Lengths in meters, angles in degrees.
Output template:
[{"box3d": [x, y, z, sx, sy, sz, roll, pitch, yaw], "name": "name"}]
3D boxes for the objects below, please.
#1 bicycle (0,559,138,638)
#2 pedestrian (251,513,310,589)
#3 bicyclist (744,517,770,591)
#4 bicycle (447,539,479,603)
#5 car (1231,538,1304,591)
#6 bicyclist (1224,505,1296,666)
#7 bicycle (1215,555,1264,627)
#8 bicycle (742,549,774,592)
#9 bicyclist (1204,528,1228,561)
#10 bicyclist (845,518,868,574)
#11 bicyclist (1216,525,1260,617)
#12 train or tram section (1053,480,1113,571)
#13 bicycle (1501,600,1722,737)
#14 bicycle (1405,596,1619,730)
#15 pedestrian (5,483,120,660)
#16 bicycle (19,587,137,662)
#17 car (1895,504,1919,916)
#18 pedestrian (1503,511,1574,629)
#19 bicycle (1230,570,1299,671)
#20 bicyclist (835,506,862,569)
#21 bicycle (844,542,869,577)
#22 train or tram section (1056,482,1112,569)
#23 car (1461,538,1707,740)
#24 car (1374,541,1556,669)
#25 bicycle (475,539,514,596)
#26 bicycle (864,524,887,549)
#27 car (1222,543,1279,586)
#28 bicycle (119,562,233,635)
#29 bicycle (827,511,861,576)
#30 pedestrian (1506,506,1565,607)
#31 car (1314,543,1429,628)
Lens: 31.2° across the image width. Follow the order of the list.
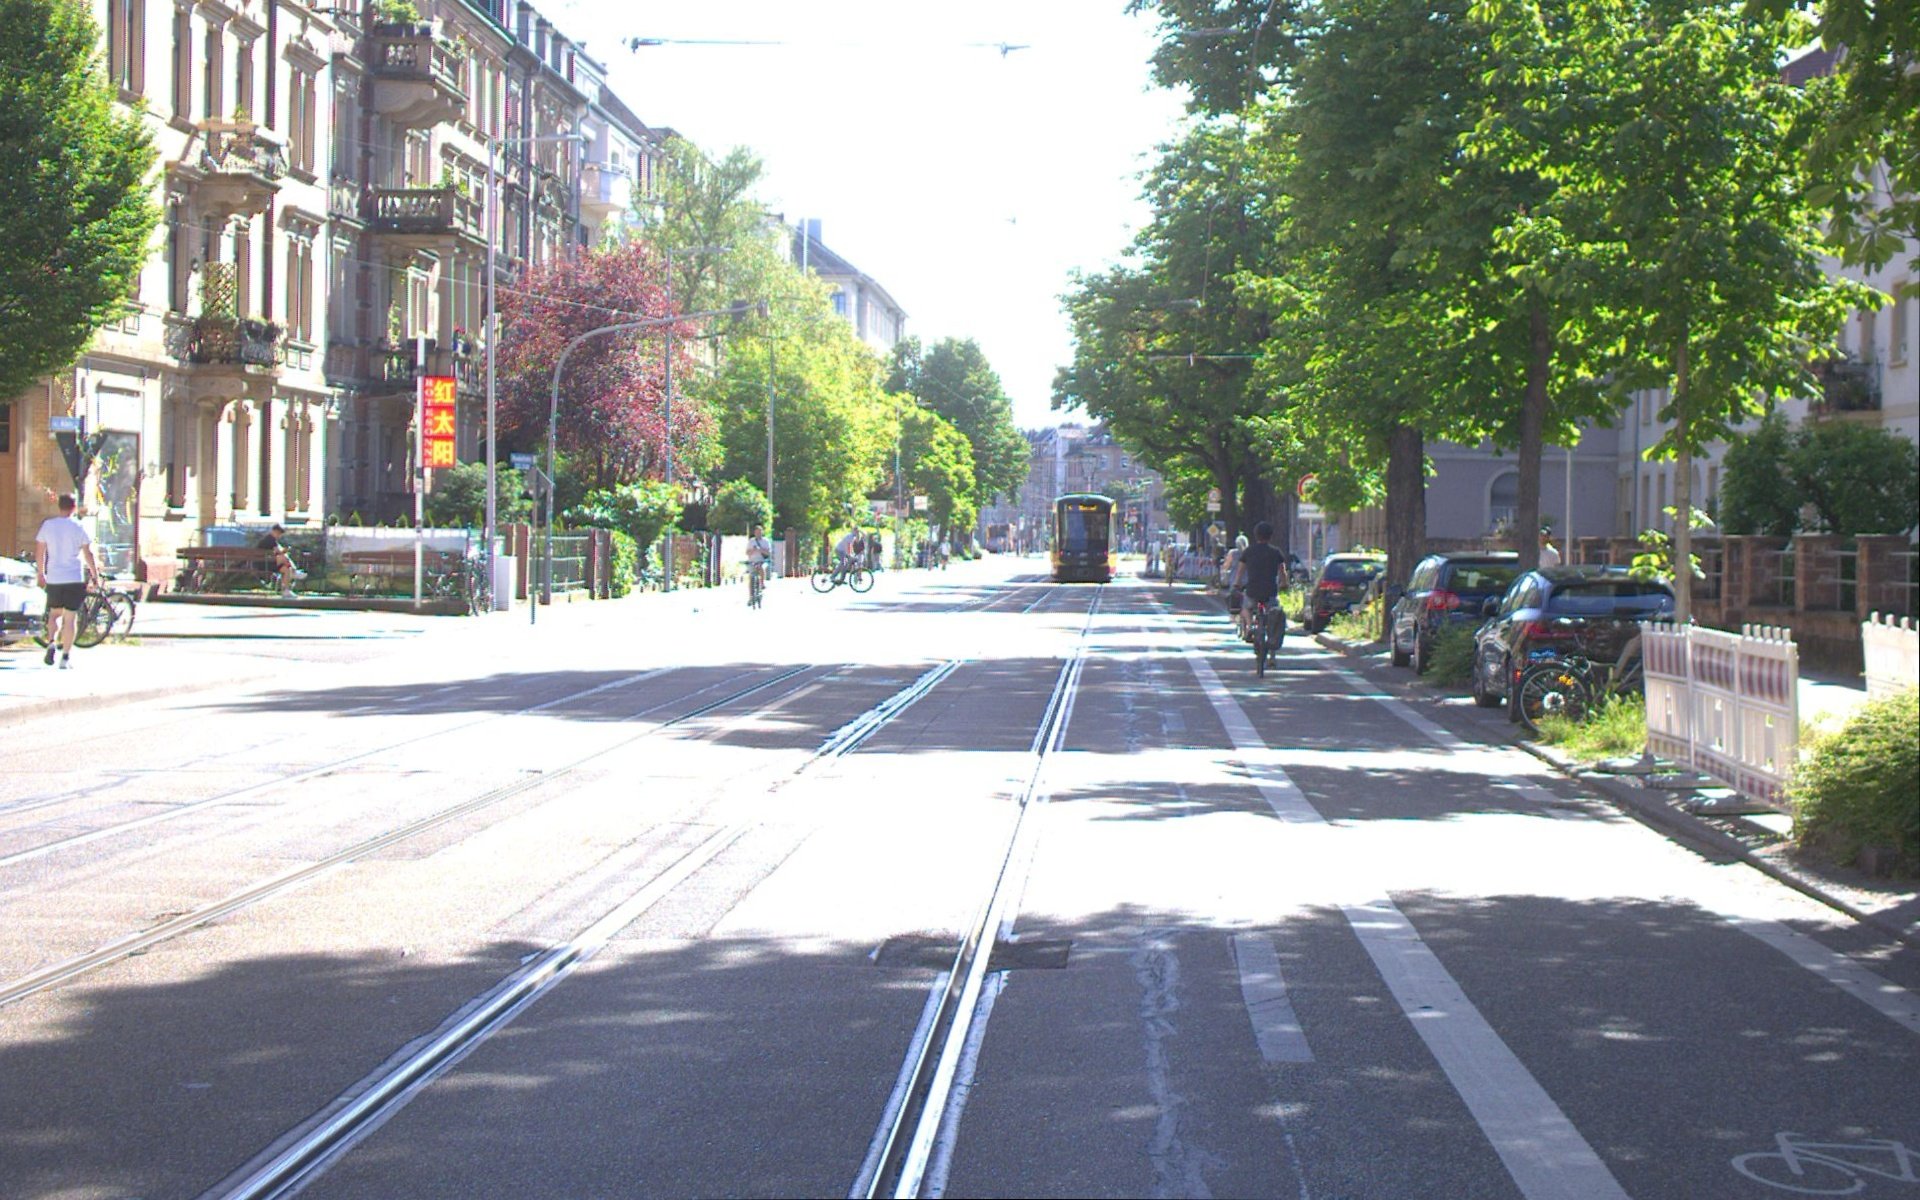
[{"box3d": [-10.816, -0.015, 41.149, 1.783, 0.911, 0.621, 1, 0, -33], "name": "bicycle"}, {"box3d": [-12.267, -0.883, 62.070, 0.901, 1.348, 0.577, -1, 1, 4], "name": "pedestrian"}, {"box3d": [-4.474, -1.025, 75.921, 0.464, 1.613, 0.744, -1, 1, 3], "name": "bicyclist"}, {"box3d": [-8.838, -0.519, 61.136, 0.371, 1.122, 0.809, 2, 1, 3], "name": "bicycle"}, {"box3d": [8.808, -1.041, 98.858, 1.628, 1.431, 4.665, 0, 1, -1], "name": "car"}, {"box3d": [3.522, -0.177, 40.397, 0.727, 1.842, 0.837, 2, 1, 2], "name": "bicyclist"}, {"box3d": [4.551, -0.156, 56.104, 0.692, 1.108, 1.917, 2, 1, 3], "name": "bicycle"}, {"box3d": [-4.453, -0.657, 75.990, 0.460, 0.922, 2.202, 0, 1, 3], "name": "bicycle"}, {"box3d": [10.382, -2.256, 139.555, 0.773, 1.287, 0.732, 3, 1, 19], "name": "bicyclist"}, {"box3d": [-3.341, -1.731, 110.588, 0.660, 1.795, 0.616, -1, 0, 3], "name": "bicyclist"}, {"box3d": [4.542, -0.473, 56.171, 0.635, 1.463, 0.616, 2, 1, 3], "name": "bicyclist"}, {"box3d": [4.883, -2.946, 135.889, 2.153, 3.420, 6.611, 2, 1, 2], "name": "train or tram section"}, {"box3d": [5.547, 0.577, 29.320, 1.762, 1.074, 0.433, 2, 1, 4], "name": "bicycle"}, {"box3d": [4.785, 0.544, 29.861, 1.762, 1.074, 0.433, 2, 1, 4], "name": "bicycle"}, {"box3d": [-9.012, -0.286, 34.561, 0.829, 1.718, 1.082, 2, 0, -1], "name": "pedestrian"}, {"box3d": [-11.018, 0.303, 42.956, 0.620, 0.911, 1.291, 1, 0, 41], "name": "bicycle"}, {"box3d": [4.945, 0.549, 12.839, 1.744, 1.760, 4.478, 2, 1, 2], "name": "car"}, {"box3d": [8.821, -0.464, 52.415, 0.599, 1.765, 0.913, -2, 2, -28], "name": "pedestrian"}, {"box3d": [3.568, 0.228, 40.396, 0.692, 1.108, 1.718, 2, 1, 3], "name": "bicycle"}, {"box3d": [-3.213, -1.797, 99.192, 0.645, 1.789, 0.956, 2, 1, 2], "name": "bicyclist"}, {"box3d": [-3.332, -1.308, 110.771, 0.692, 1.108, 1.718, 0, 1, 3], "name": "bicycle"}, {"box3d": [5.156, -3.106, 142.537, 2.153, 3.420, 6.611, 2, 1, 2], "name": "train or tram section"}, {"box3d": [5.903, 0.310, 32.946, 1.665, 1.755, 4.231, 1, 1, 2], "name": "car"}, {"box3d": [6.234, 0.021, 42.799, 1.720, 1.468, 4.246, 0, 1, 1], "name": "car"}, {"box3d": [-8.500, -0.600, 62.825, 0.335, 0.997, 1.869, 2, 1, 3], "name": "bicycle"}, {"box3d": [-3.792, -2.828, 153.964, 0.632, 1.065, 1.832, 2, 1, -14], "name": "bicycle"}, {"box3d": [9.902, -1.224, 117.283, 1.749, 1.415, 4.000, 0, 1, 2], "name": "car"}, {"box3d": [-10.194, -0.018, 44.685, 1.290, 0.911, 0.621, 1, 0, -33], "name": "bicycle"}, {"box3d": [-3.342, -1.639, 99.199, 0.663, 1.853, 2.259, 2, 1, 4], "name": "bicycle"}, {"box3d": [9.976, -0.758, 59.598, 0.764, 1.718, 0.579, 3, 2, 32], "name": "pedestrian"}, {"box3d": [7.543, -0.289, 63.273, 1.787, 1.459, 4.044, 0, 1, 2], "name": "car"}]
